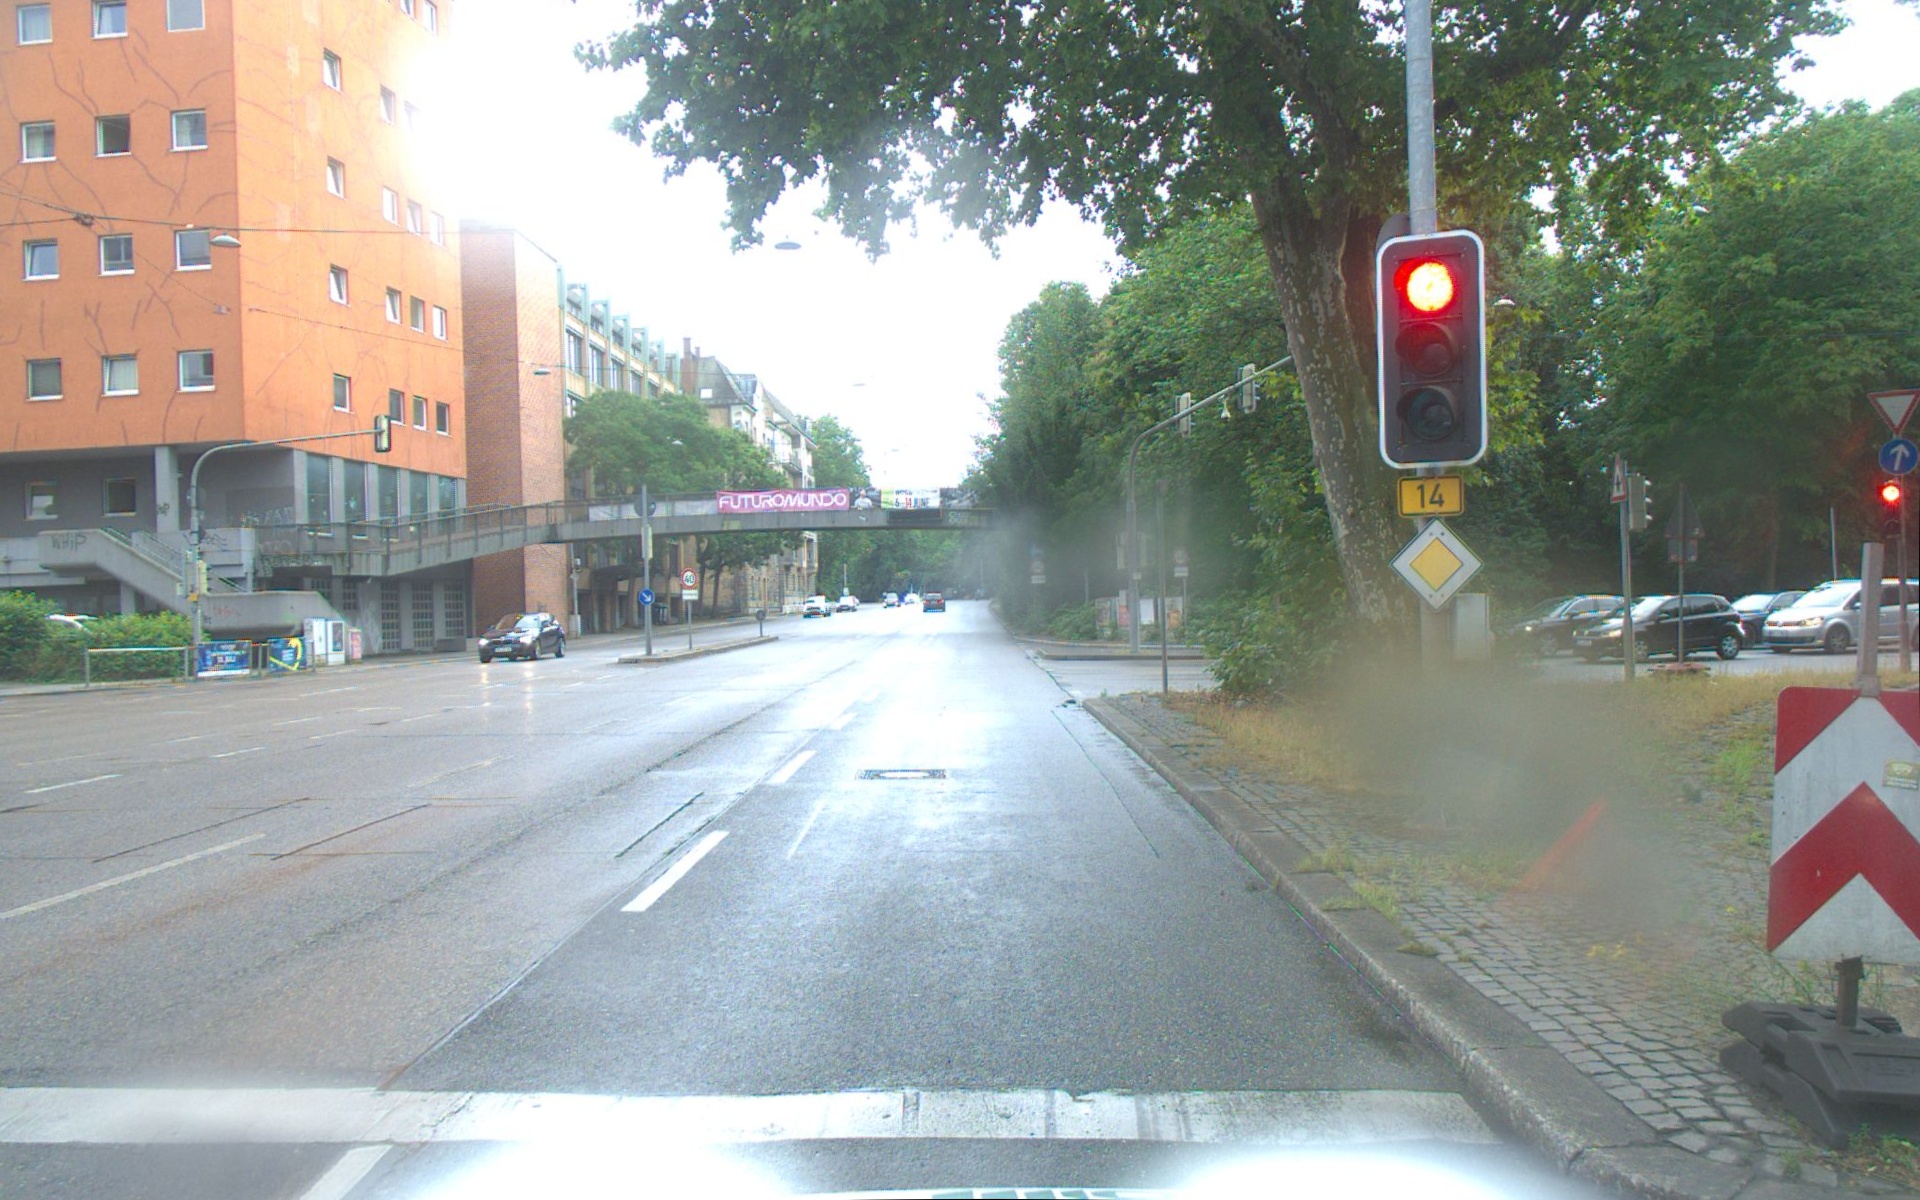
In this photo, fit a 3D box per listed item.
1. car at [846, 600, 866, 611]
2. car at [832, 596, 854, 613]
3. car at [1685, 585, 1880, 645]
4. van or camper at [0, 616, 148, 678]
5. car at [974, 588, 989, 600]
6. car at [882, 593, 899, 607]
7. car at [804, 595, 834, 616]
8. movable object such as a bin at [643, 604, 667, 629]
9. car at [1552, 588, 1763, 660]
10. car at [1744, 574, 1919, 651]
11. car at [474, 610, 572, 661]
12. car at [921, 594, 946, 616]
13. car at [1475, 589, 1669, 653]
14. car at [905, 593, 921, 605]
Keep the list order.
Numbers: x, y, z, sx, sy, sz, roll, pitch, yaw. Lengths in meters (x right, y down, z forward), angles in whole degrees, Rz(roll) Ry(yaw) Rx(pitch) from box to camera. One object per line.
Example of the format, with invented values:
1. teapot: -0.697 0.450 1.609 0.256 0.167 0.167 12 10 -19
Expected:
1. car: -15.875 0.901 252.705 1.585 1.525 3.671 -2 0 -31
2. car: -11.078 0.410 156.714 1.673 1.490 4.042 -2 0 2
3. car: 20.835 0.377 41.926 4.361 1.427 1.821 1 0 -17
4. van or camper: -25.800 1.343 47.614 3.902 1.656 1.915 -1 0 5
5. car: 2.669 -0.806 209.633 1.805 1.478 3.776 1 0 -1
6. car: -7.364 -0.002 175.506 1.648 1.461 3.863 -2 0 1
7. car: -11.208 0.451 131.350 1.850 1.638 4.457 -1 0 2
8. movable object such as a bin: -19.682 1.061 106.804 1.256 1.545 1.273 -1 0 1
9. car: 15.375 0.534 36.514 4.119 1.486 1.785 1 0 -17
10. car: 20.651 0.301 38.519 4.129 1.709 1.898 1 0 -17
11. car: -13.317 1.075 50.656 1.650 1.444 4.216 -2 -1 3
12. car: -2.163 0.381 133.814 1.964 1.672 4.374 -1 0 -2
13. car: 14.882 0.516 40.269 4.131 1.466 1.941 1 0 -17
14. car: -5.904 -0.155 208.297 1.793 1.418 4.405 -3 0 1
